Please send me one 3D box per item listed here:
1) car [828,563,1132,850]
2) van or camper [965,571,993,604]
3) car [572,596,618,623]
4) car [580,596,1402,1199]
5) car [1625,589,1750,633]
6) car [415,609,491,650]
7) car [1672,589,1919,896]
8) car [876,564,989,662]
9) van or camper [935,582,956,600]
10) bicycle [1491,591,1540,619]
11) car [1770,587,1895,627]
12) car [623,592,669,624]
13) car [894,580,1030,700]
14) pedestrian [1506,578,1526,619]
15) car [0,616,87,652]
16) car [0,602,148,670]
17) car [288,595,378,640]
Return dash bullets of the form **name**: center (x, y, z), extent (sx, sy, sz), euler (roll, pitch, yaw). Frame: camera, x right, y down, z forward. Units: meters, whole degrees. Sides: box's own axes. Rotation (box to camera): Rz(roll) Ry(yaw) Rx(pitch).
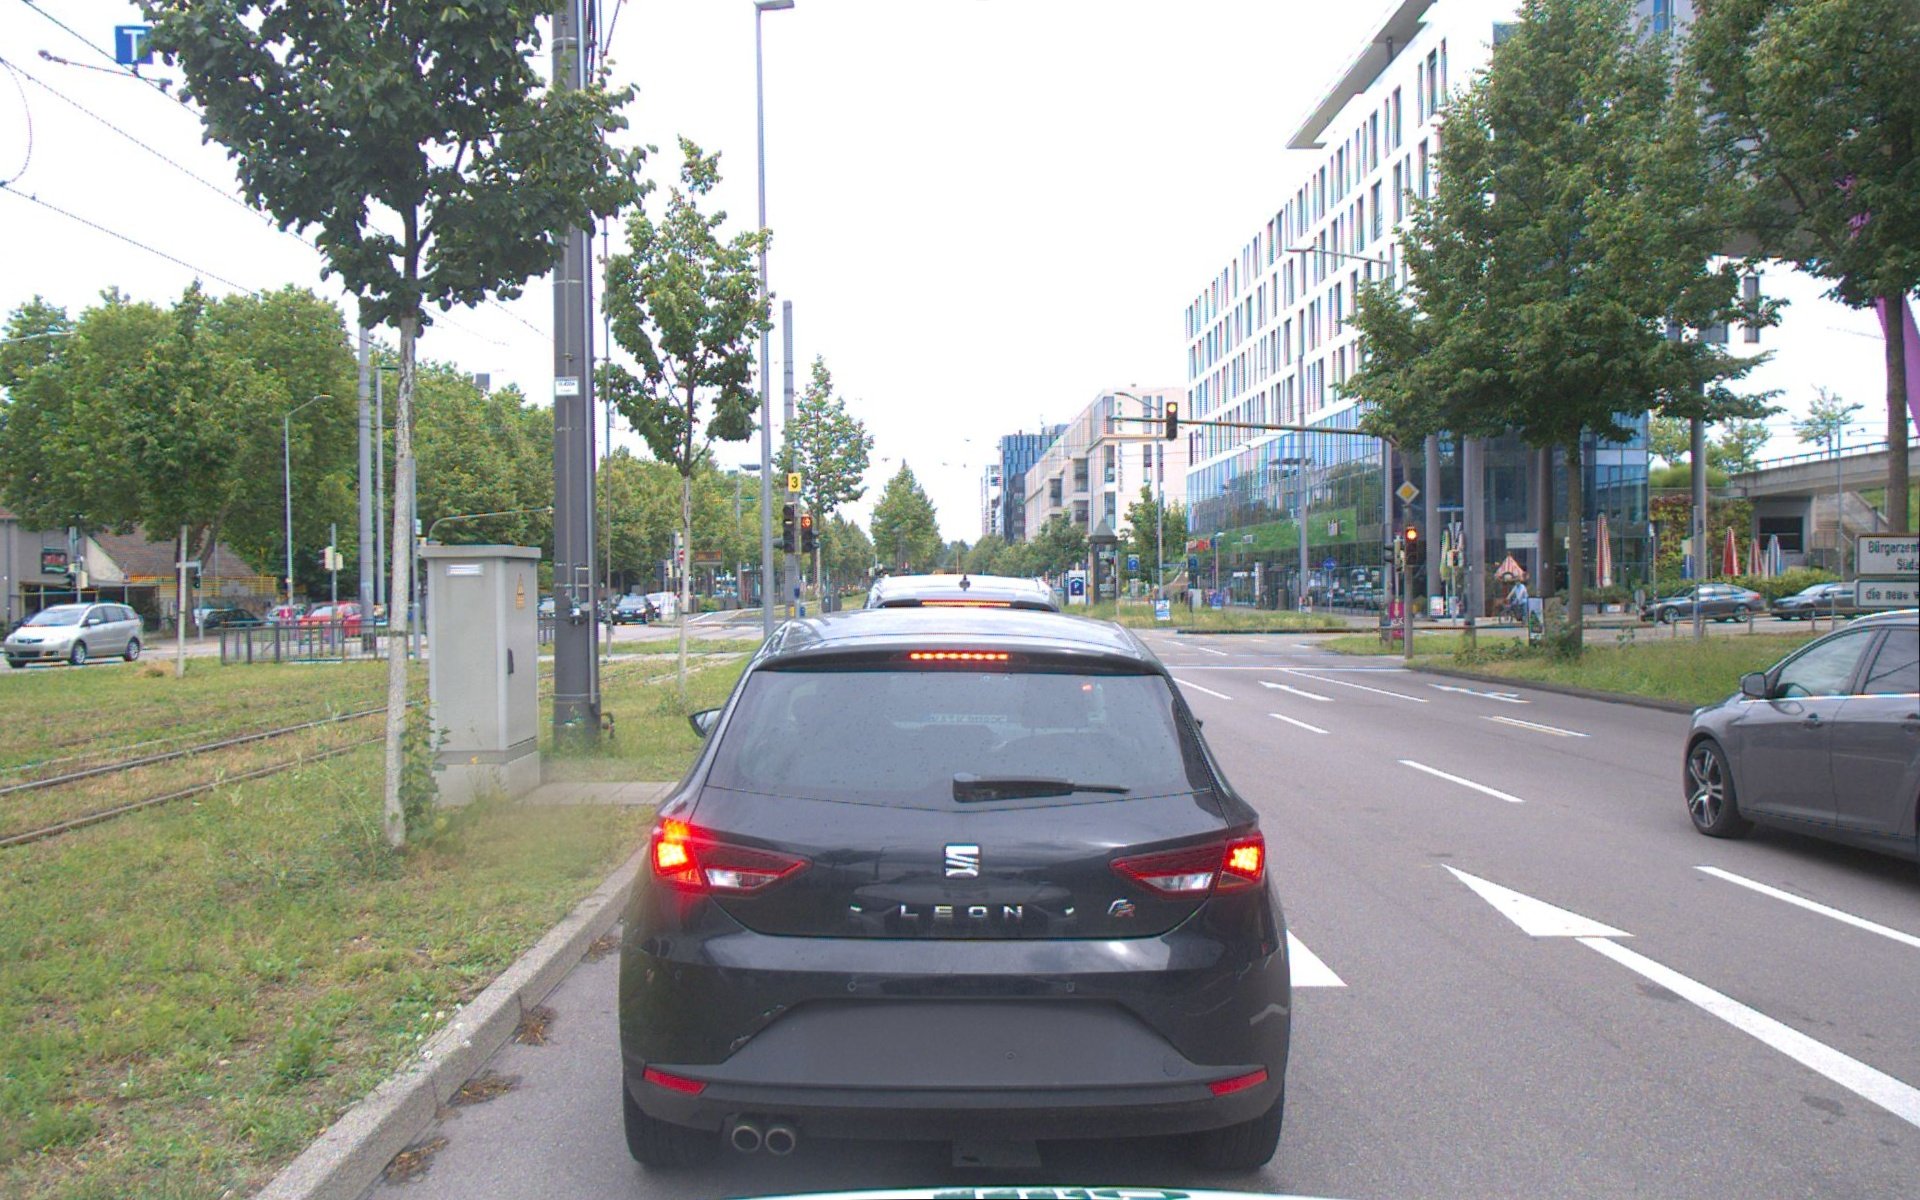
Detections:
- **car**: center (0.090, 0.609, 11.686), extent (1.766, 1.653, 3.999), euler (-1, 0, -1)
- **van or camper**: center (1.463, -1.011, 129.946), extent (2.066, 2.397, 4.923), euler (0, 2, 0)
- **car**: center (-22.604, 0.578, 102.515), extent (1.774, 1.616, 5.076), euler (-1, 0, -1)
- **car**: center (0.016, 0.729, 5.459), extent (1.708, 1.442, 3.999), euler (1, 0, -2)
- **car**: center (28.504, 0.424, 64.878), extent (4.163, 1.643, 1.758), euler (-1, 0, 1)
- **car**: center (-20.087, 1.153, 65.730), extent (1.630, 1.451, 4.744), euler (-2, 1, -2)
- **car**: center (5.749, 0.733, 9.186), extent (1.712, 1.525, 4.268), euler (0, 1, -1)
- **car**: center (-0.450, 0.213, 31.256), extent (1.952, 1.711, 4.001), euler (1, 0, 1)
- **van or camper**: center (-1.385, -0.845, 158.343), extent (1.953, 1.643, 4.789), euler (0, 1, 0)
- **bicycle**: center (22.350, 0.204, 66.604), extent (1.755, 1.104, 0.618), euler (-1, 0, 1)
- **car**: center (34.411, 0.271, 65.288), extent (3.996, 1.480, 1.758), euler (-1, 0, 1)
- **car**: center (-18.060, 0.432, 95.235), extent (1.953, 1.780, 4.199), euler (-1, 0, -2)
- **car**: center (0.101, 0.561, 26.065), extent (1.952, 1.711, 4.001), euler (1, 0, 2)
- **pedestrian**: center (22.398, -0.063, 66.597), extent (0.602, 1.632, 0.619), euler (-1, 0, 1)
- **car**: center (-50.487, 1.858, 90.618), extent (4.190, 1.847, 2.108), euler (-1, 0, 3)
- **car**: center (-23.463, 0.906, 43.917), extent (1.686, 1.672, 4.672), euler (-1, 0, -3)
- **car**: center (-23.757, 0.627, 62.814), extent (1.759, 1.598, 4.328), euler (-1, 0, 0)
